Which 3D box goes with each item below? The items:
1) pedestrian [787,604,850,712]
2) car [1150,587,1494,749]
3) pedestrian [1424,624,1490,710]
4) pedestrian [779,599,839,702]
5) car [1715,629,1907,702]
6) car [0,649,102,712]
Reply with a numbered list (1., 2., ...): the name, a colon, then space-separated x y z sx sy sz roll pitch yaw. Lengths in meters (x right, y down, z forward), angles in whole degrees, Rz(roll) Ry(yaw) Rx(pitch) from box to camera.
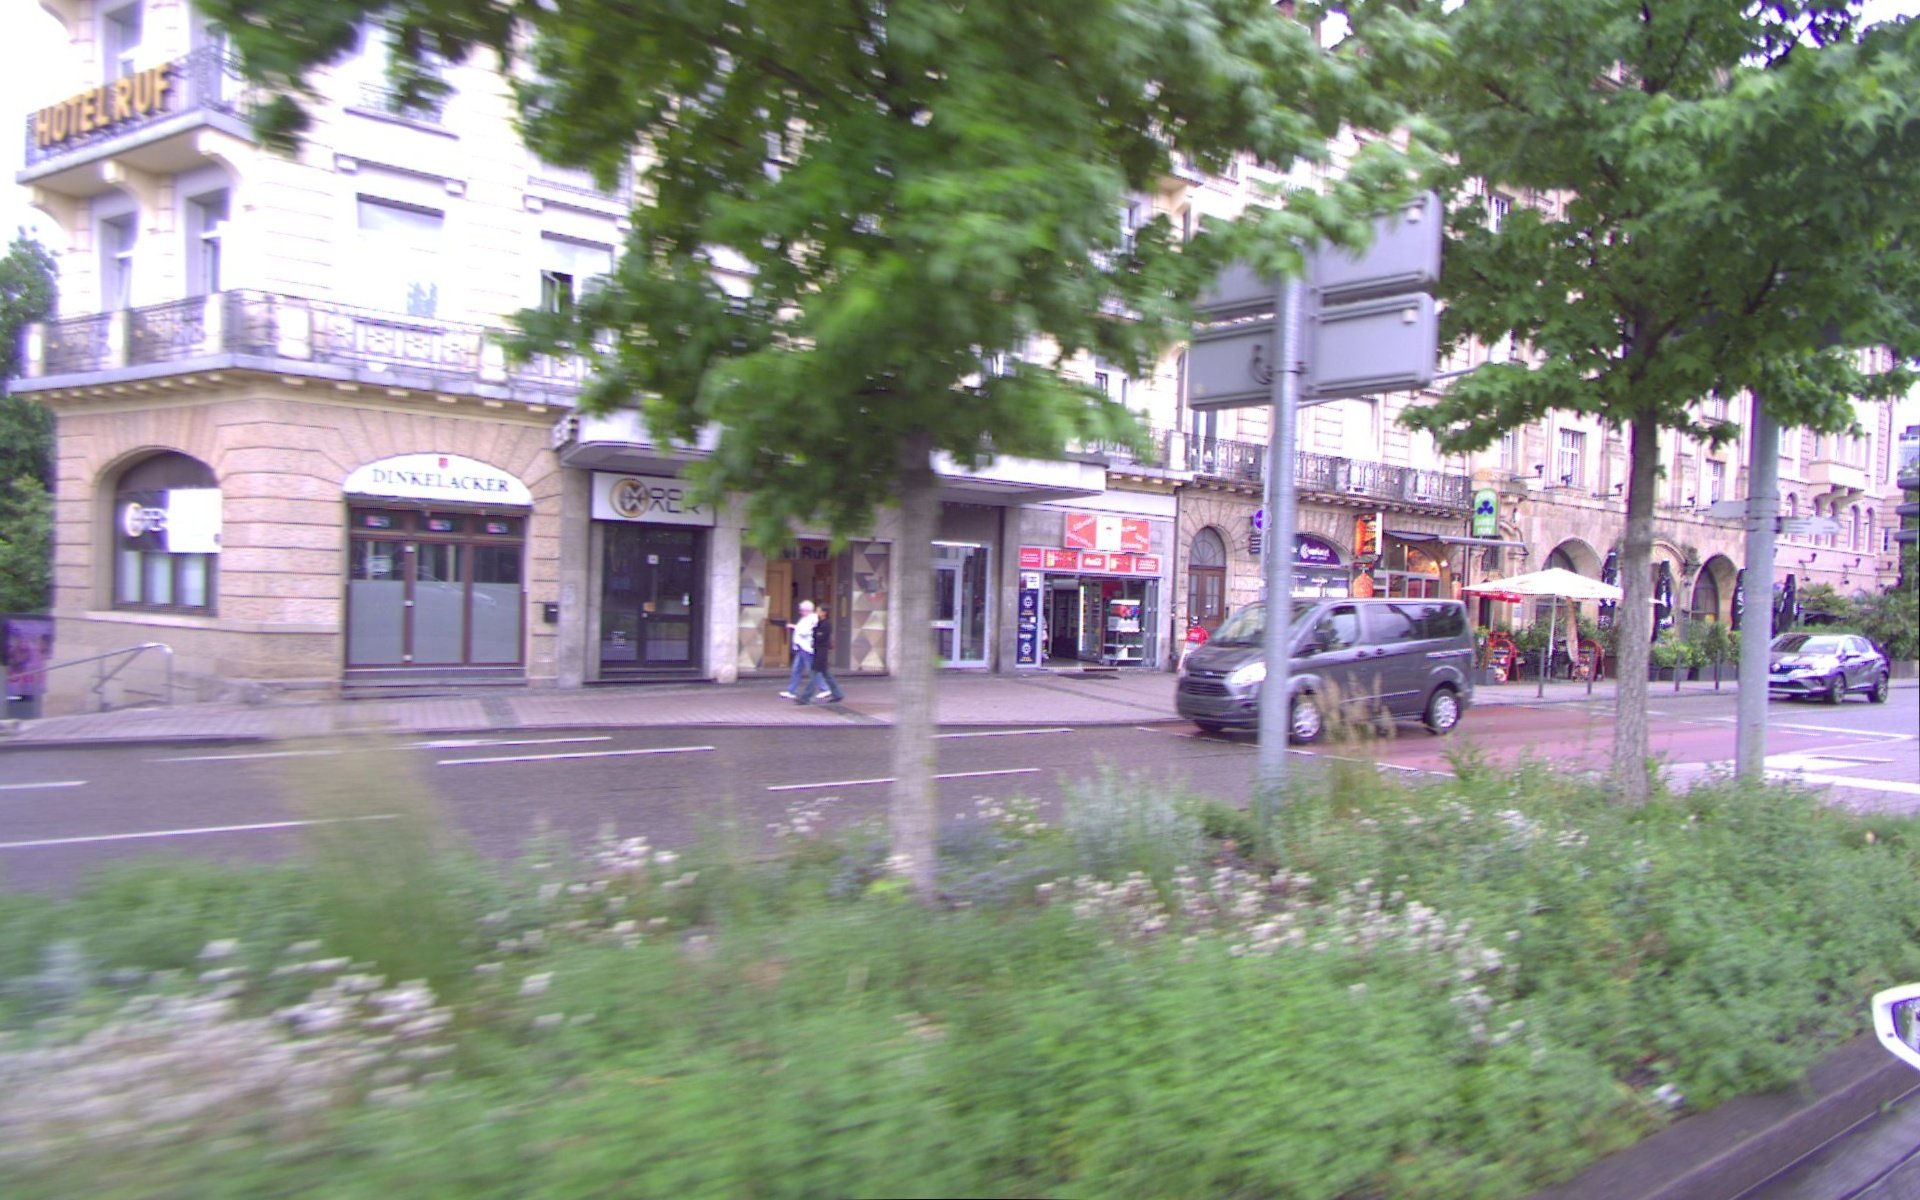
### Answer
1. pedestrian: -2.282 0.927 16.213 0.797 1.685 0.678 2 -2 -30
2. car: 5.355 0.950 14.713 4.939 2.040 1.985 2 -2 -29
3. pedestrian: 11.084 1.503 22.413 0.741 1.834 0.876 2 -9 -30
4. pedestrian: -2.557 0.846 16.977 0.796 1.685 0.679 1 -1 -27
5. car: 19.811 1.487 23.356 4.578 1.563 1.985 2 -2 -30
6. car: -23.208 1.932 23.982 1.602 1.416 4.003 0 -1 10
